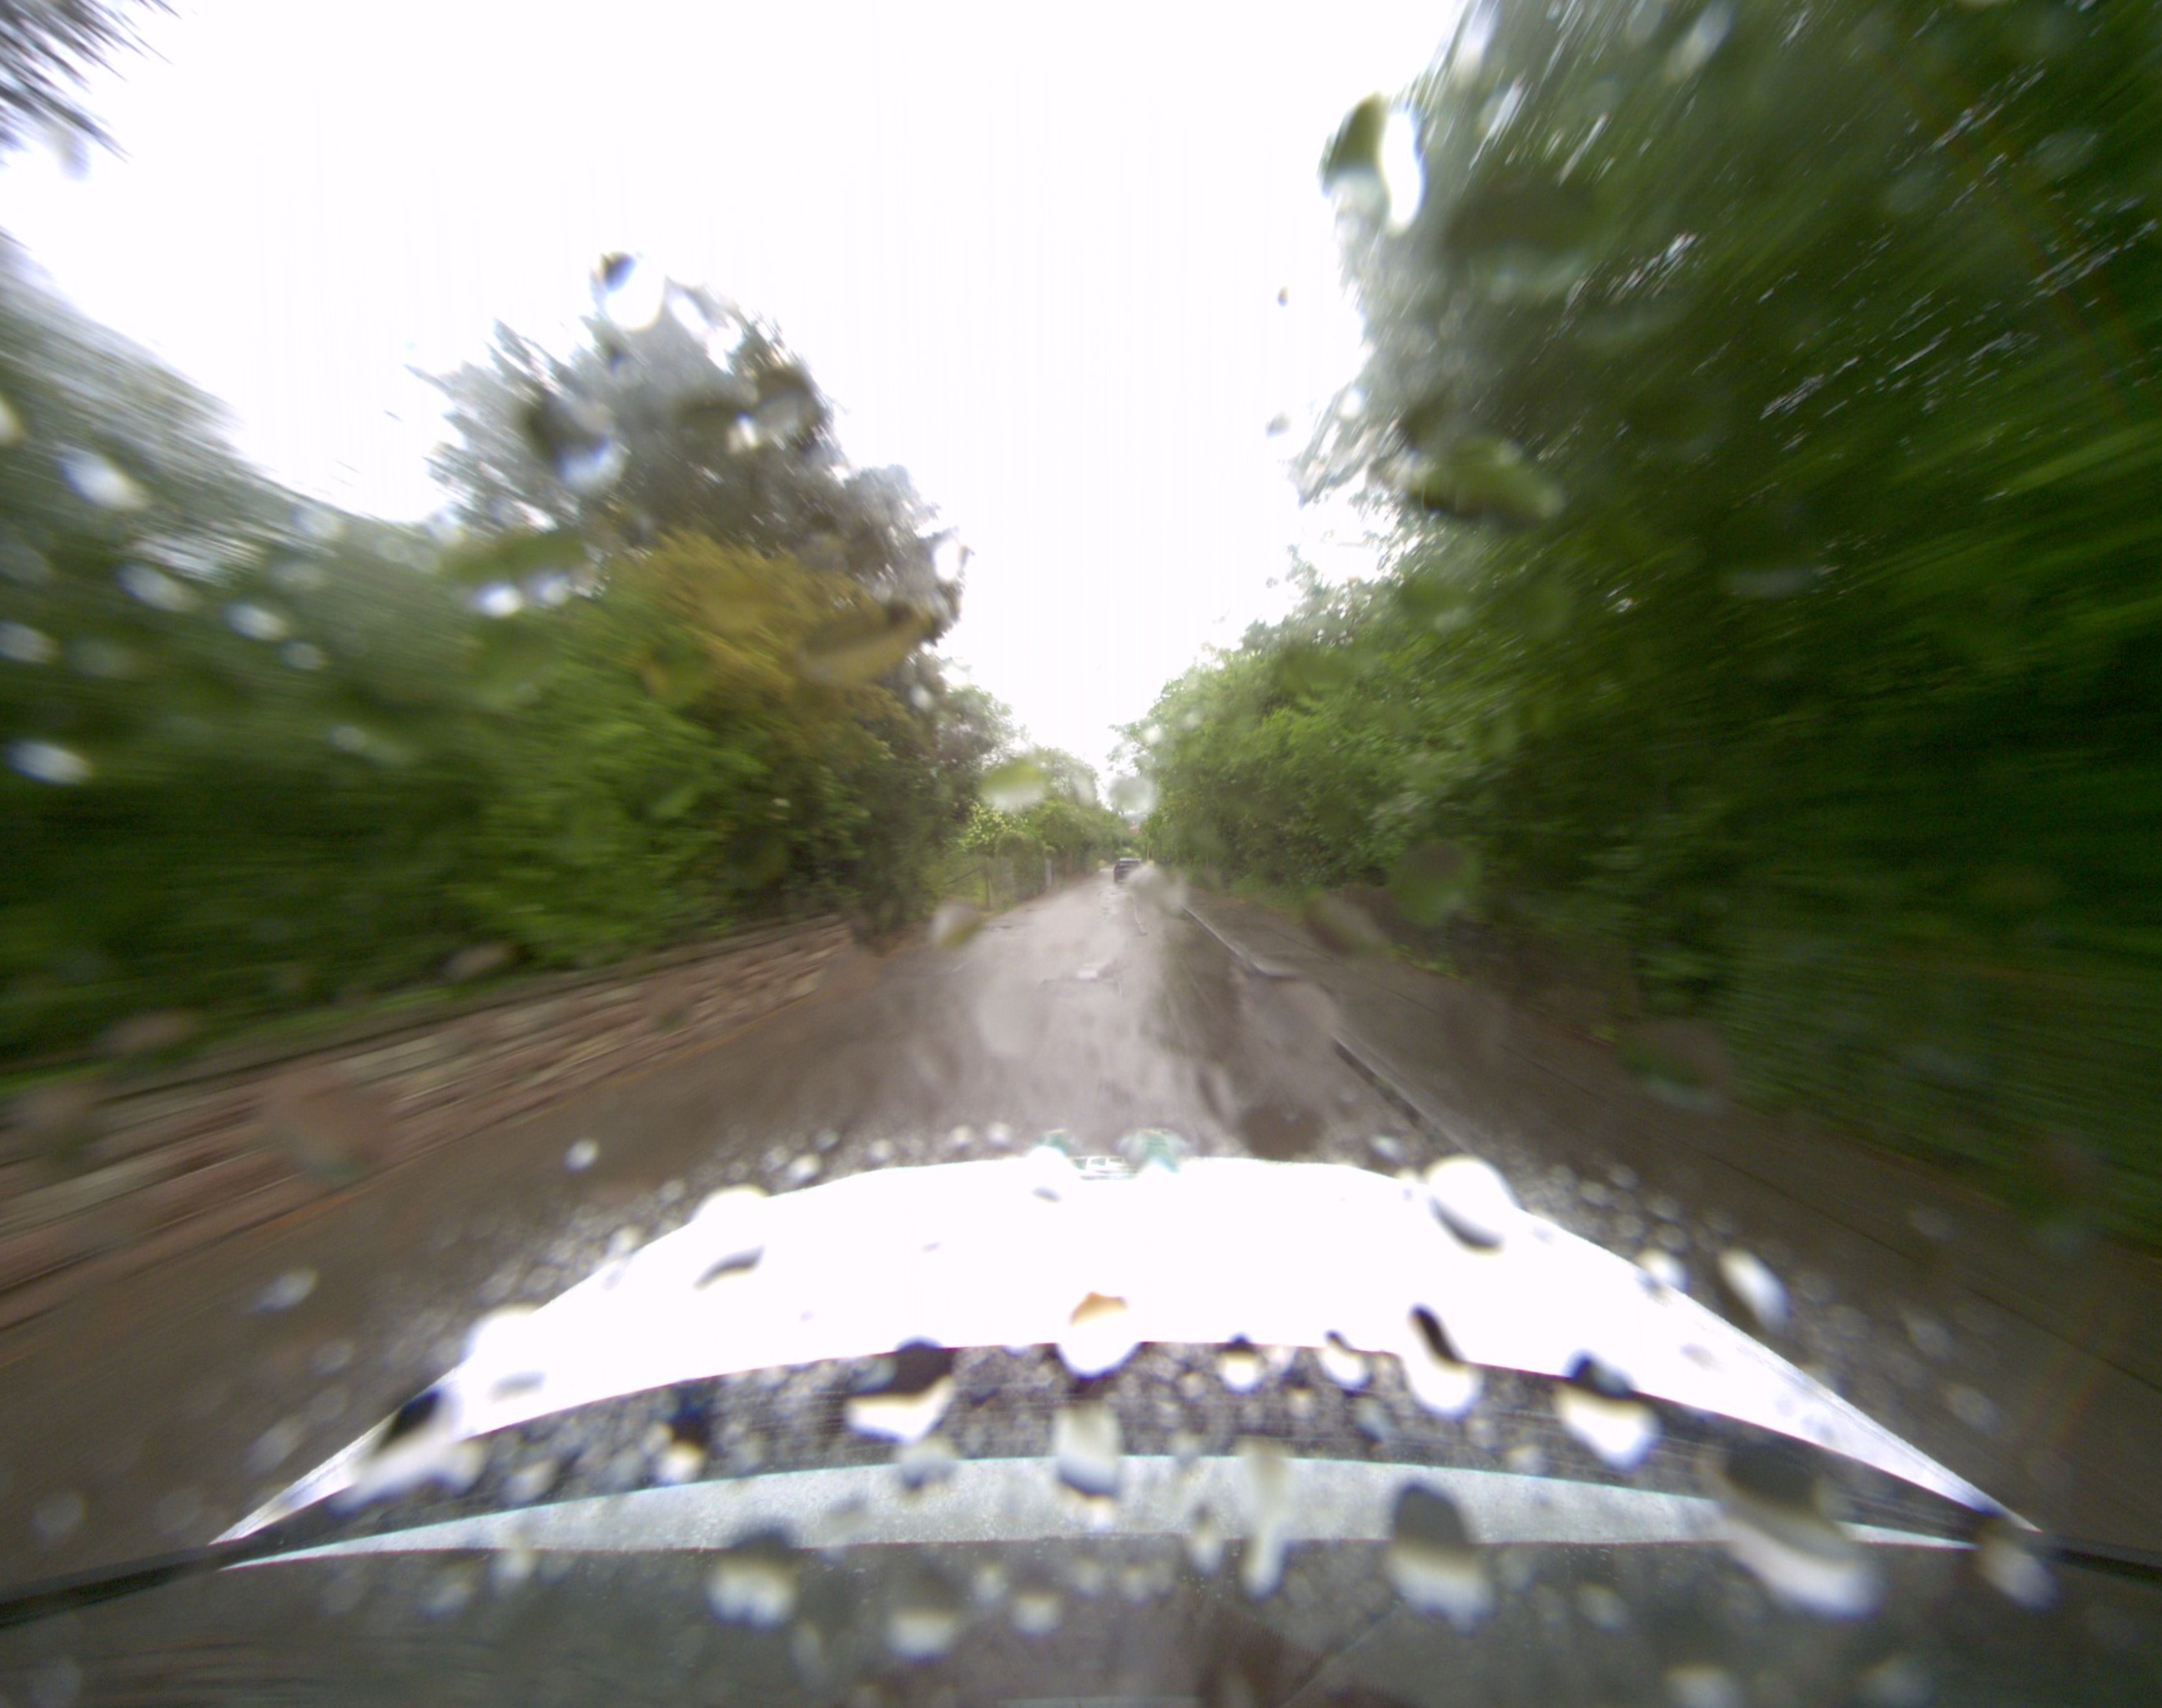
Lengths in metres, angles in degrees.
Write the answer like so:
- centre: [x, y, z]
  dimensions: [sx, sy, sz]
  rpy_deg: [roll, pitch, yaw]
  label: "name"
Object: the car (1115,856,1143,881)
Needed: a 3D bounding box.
- centre: [3.059, 0.928, 51.325]
  dimensions: [1.627, 1.450, 3.549]
  rpy_deg: [-1, -1, 5]
  label: "car"
